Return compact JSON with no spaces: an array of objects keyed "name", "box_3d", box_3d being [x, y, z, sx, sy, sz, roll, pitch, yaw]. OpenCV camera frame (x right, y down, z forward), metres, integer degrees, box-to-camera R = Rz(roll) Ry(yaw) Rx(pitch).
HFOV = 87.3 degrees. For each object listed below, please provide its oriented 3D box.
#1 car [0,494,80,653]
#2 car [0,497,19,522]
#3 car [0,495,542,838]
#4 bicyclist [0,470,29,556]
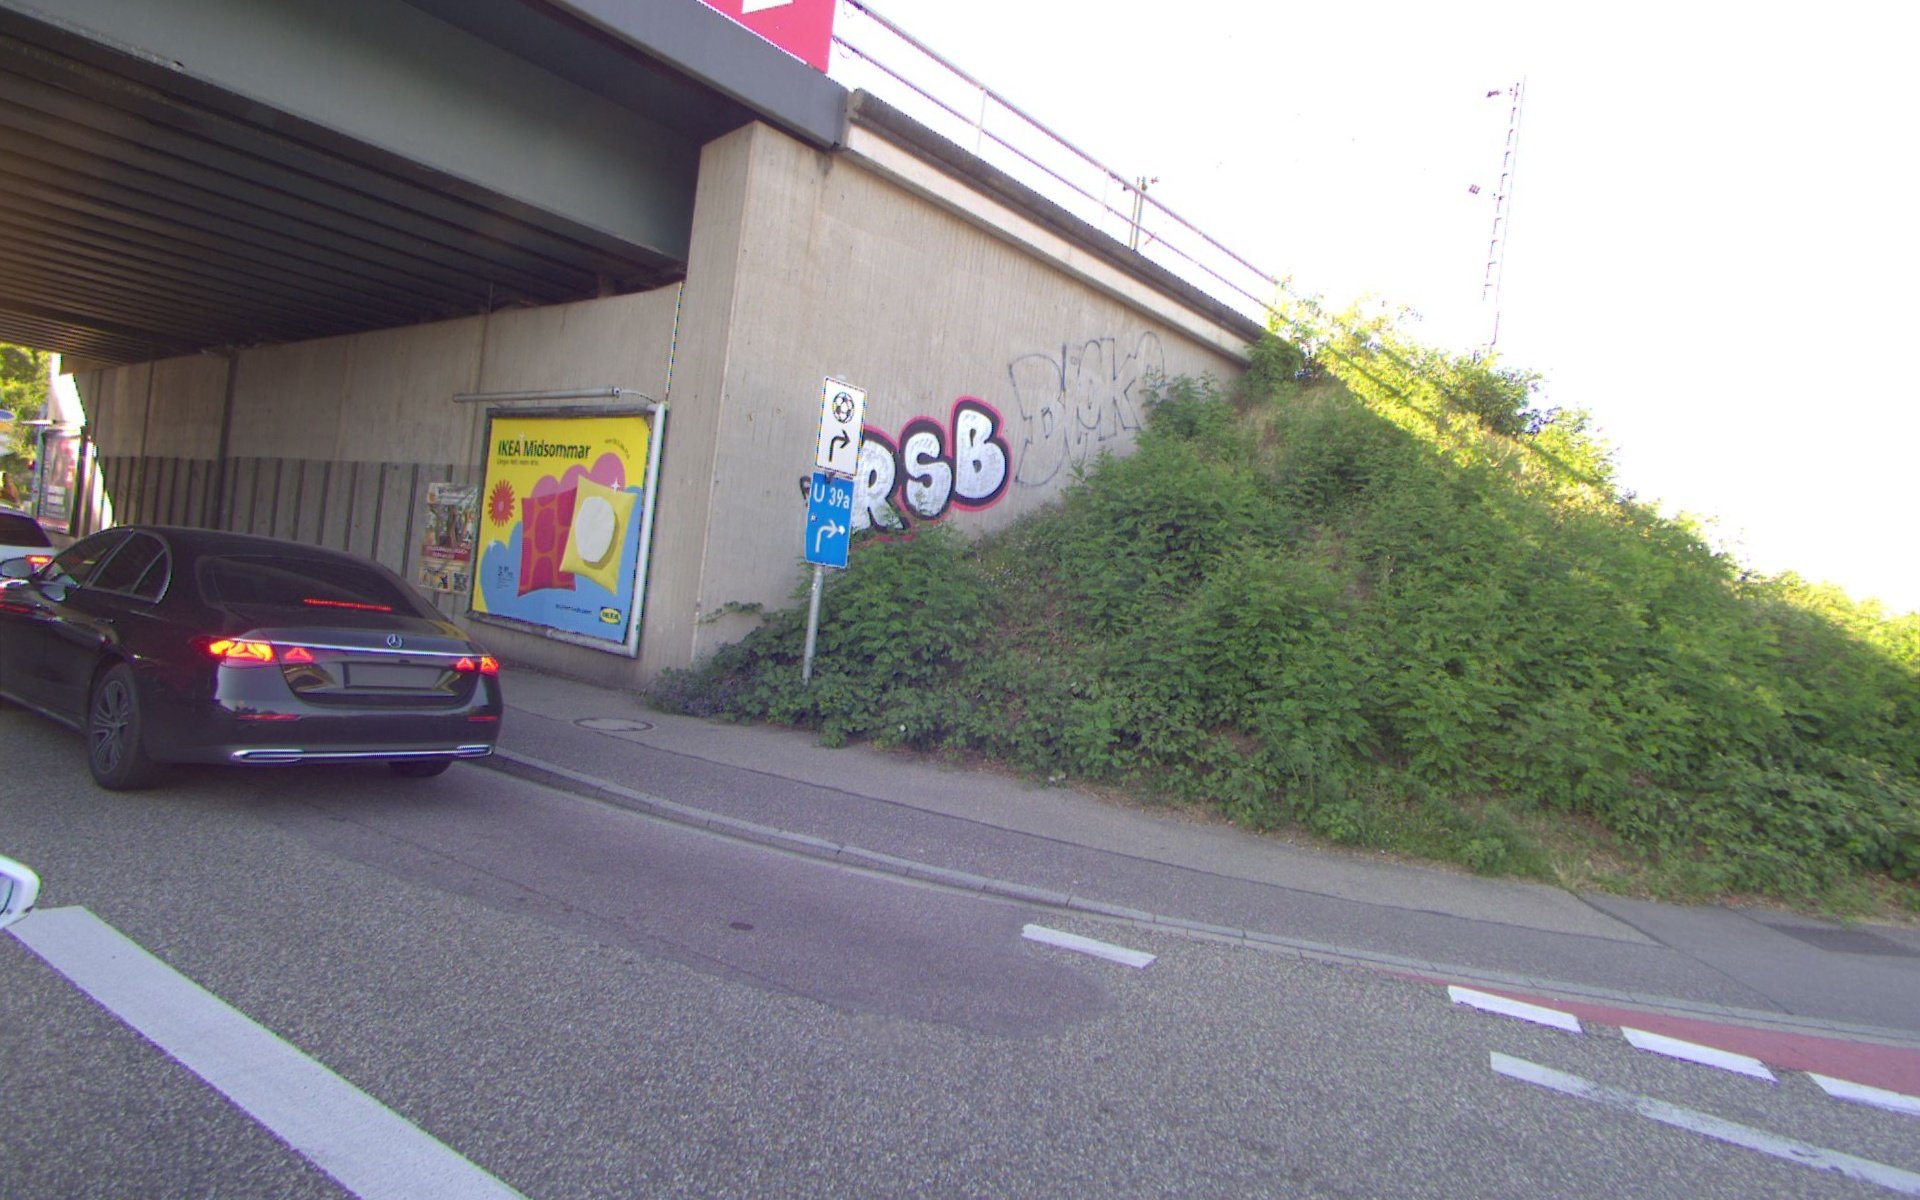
[{"name":"car","box_3d":[-10.942,-0.420,10.462,3.772,1.514,1.772,5,0,35]},{"name":"car","box_3d":[-44.930,-4.303,45.808,1.200,1.094,2.821,6,-1,38]},{"name":"car","box_3d":[-5.055,0.245,6.781,4.530,1.472,1.743,7,-1,33]},{"name":"bicyclist","box_3d":[-22.308,-2.044,23.422,0.821,1.930,0.681,6,0,39]}]
